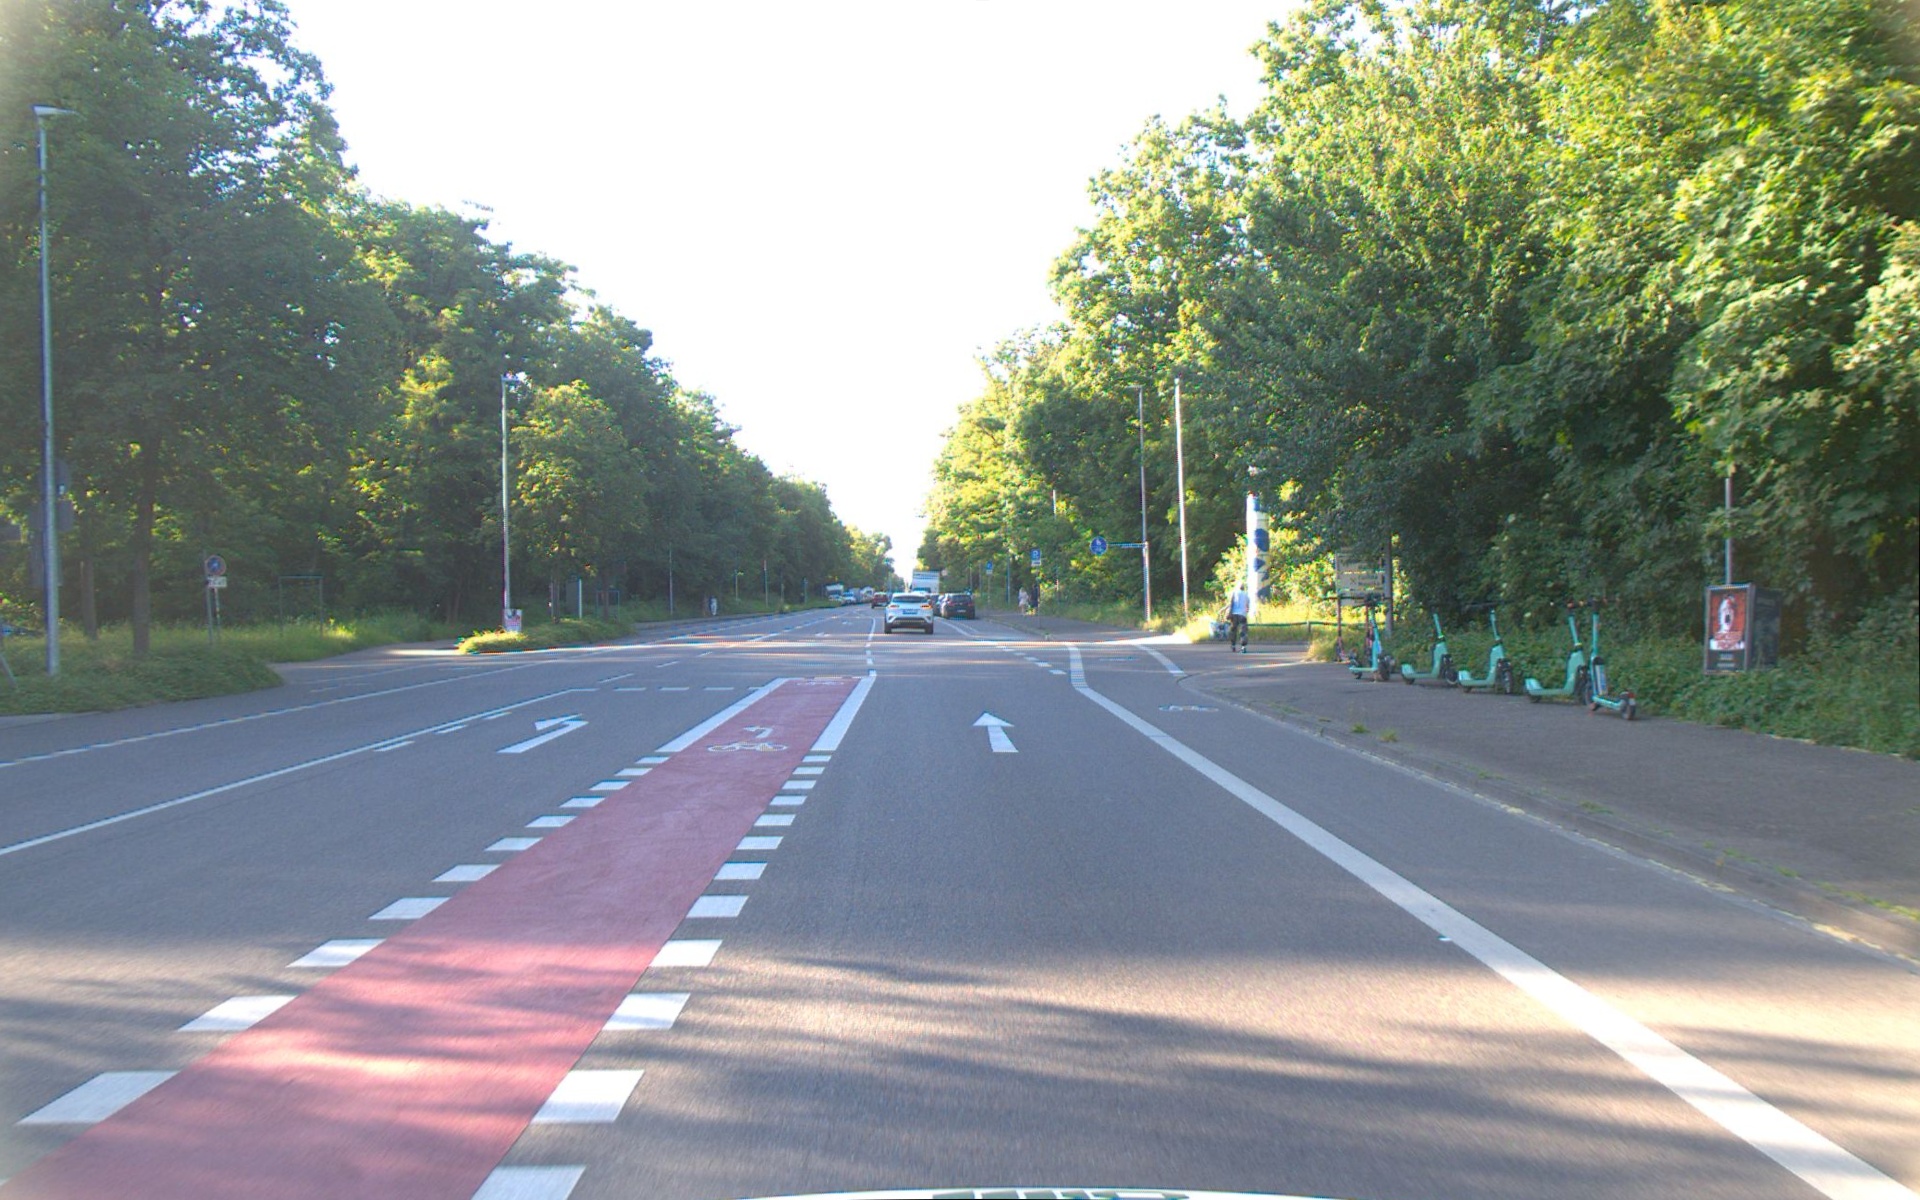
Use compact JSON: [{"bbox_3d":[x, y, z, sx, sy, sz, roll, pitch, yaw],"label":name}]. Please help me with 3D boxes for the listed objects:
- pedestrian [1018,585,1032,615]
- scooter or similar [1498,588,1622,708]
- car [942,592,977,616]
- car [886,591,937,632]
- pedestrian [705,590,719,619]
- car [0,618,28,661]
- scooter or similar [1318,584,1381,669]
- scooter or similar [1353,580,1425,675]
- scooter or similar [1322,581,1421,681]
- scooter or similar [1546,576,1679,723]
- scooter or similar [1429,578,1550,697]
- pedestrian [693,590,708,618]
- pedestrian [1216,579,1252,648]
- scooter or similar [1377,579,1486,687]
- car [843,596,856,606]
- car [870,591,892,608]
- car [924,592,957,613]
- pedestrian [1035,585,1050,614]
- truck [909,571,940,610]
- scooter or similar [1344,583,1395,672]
[{"bbox_3d":[3.632,-0.008,92.477,0.684,1.682,0.876,-1,0,-2],"label":"pedestrian"},{"bbox_3d":[6.925,0.533,19.138,0.459,1.329,1.470,-1,0,-23],"label":"scooter or similar"},{"bbox_3d":[-0.029,0.208,99.567,1.953,1.350,3.999,-2,0,-2],"label":"car"},{"bbox_3d":[-1.838,0.401,62.018,1.727,1.485,3.814,1,0,-5],"label":"car"},{"bbox_3d":[-17.955,0.342,119.809,0.814,2.049,1.269,-1,0,0],"label":"pedestrian"},{"bbox_3d":[-36.259,1.474,59.839,1.958,1.553,3.990,-1,0,33],"label":"car"},{"bbox_3d":[6.893,0.449,29.351,0.668,1.448,1.681,-1,0,-1],"label":"scooter or similar"},{"bbox_3d":[6.801,0.424,26.296,0.668,1.448,1.681,-1,0,-1],"label":"scooter or similar"},{"bbox_3d":[6.193,0.453,24.972,0.671,1.448,1.674,-1,0,-16],"label":"scooter or similar"},{"bbox_3d":[6.785,0.487,17.281,0.668,1.448,1.681,-1,0,-1],"label":"scooter or similar"},{"bbox_3d":[6.777,0.459,21.233,0.670,1.448,1.675,-1,0,-15],"label":"scooter or similar"},{"bbox_3d":[-18.789,0.295,119.835,0.846,2.049,1.269,-1,0,0],"label":"pedestrian"},{"bbox_3d":[6.457,0.315,38.986,0.739,1.591,0.803,-1,0,3],"label":"pedestrian"},{"bbox_3d":[6.622,0.451,23.302,0.671,1.448,1.674,-1,0,-16],"label":"scooter or similar"},{"bbox_3d":[-16.401,0.131,245.540,1.954,1.350,3.998,-2,0,-3],"label":"car"},{"bbox_3d":[-7.472,-0.069,156.392,1.953,1.545,4.000,-1,0,-1],"label":"car"},{"bbox_3d":[-1.383,0.145,115.236,1.954,1.350,3.996,-2,0,-5],"label":"car"},{"bbox_3d":[4.613,-0.027,92.531,0.728,1.627,0.797,-1,0,-2],"label":"pedestrian"},{"bbox_3d":[-3.447,-0.935,158.951,2.743,3.632,8.031,0,0,-3],"label":"truck"},{"bbox_3d":[6.875,0.451,27.811,0.667,1.448,1.246,-1,0,7],"label":"scooter or similar"}]
